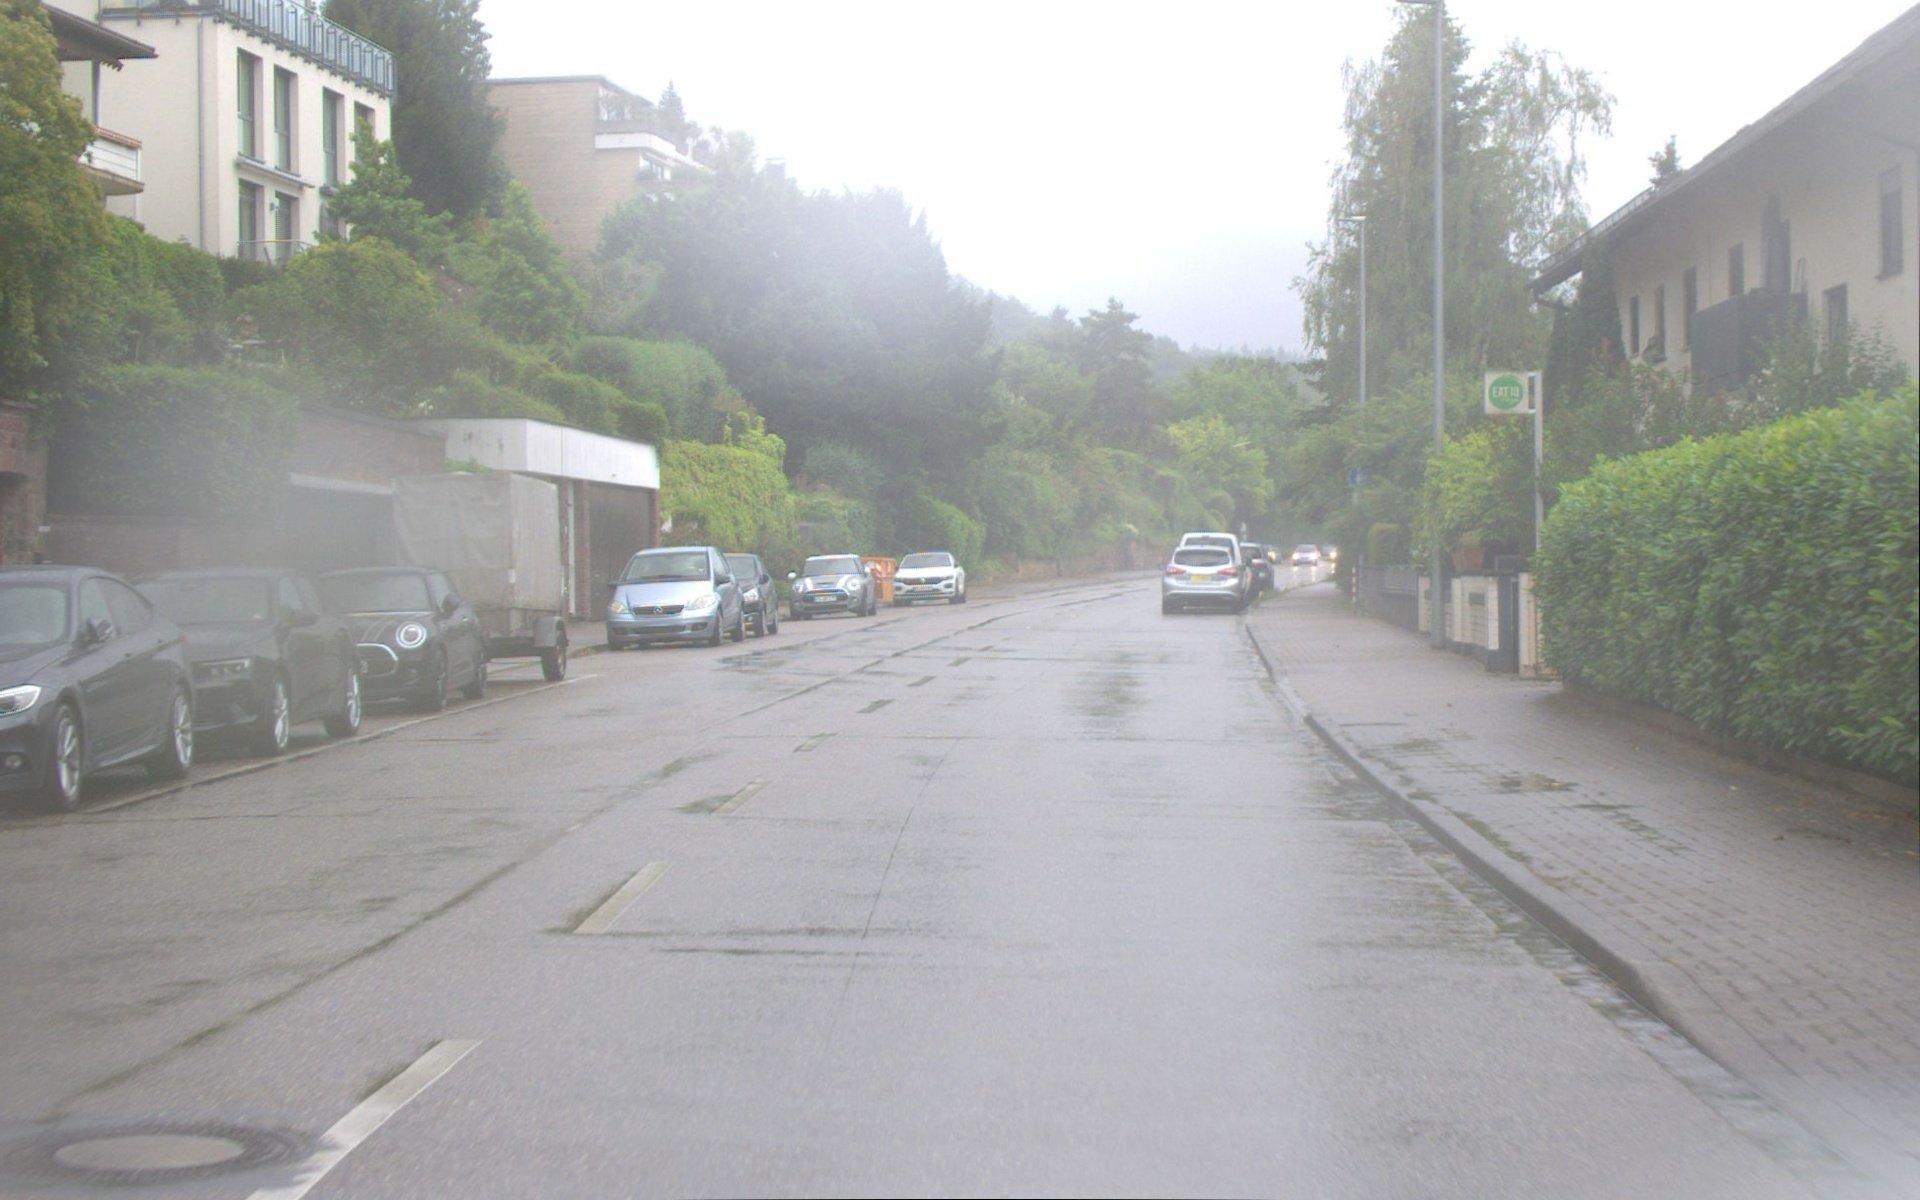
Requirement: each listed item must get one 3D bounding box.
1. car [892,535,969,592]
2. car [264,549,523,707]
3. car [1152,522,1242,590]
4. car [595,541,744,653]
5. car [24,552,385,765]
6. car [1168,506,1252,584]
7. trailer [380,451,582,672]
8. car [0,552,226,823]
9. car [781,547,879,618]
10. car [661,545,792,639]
[{"bbox_3d":[-0.813,-1.041,96.403,1.756,1.492,4.220,-2,1,4],"label":"car"},{"bbox_3d":[-5.586,0.239,34.319,1.808,1.344,3.776,-3,2,2],"label":"car"},{"bbox_3d":[5.346,-1.010,77.214,1.790,1.455,4.307,-1,1,7],"label":"car"},{"bbox_3d":[-4.555,-0.077,54.447,1.756,1.534,3.756,-4,2,3],"label":"car"},{"bbox_3d":[-5.925,0.404,27.463,1.785,1.410,4.217,-3,2,2],"label":"car"},{"bbox_3d":[6.052,-1.334,82.893,1.785,1.784,4.360,-1,1,7],"label":"car"},{"bbox_3d":[-5.549,-0.472,40.157,1.537,2.391,3.072,-3,1,5],"label":"trailer"},{"bbox_3d":[-6.139,0.515,21.924,1.785,1.450,4.756,-4,2,0],"label":"car"},{"bbox_3d":[-2.901,-0.414,77.353,1.756,1.397,3.770,-4,1,3],"label":"car"},{"bbox_3d":[-4.033,-0.163,59.963,1.756,1.404,3.704,-4,2,3],"label":"car"}]
